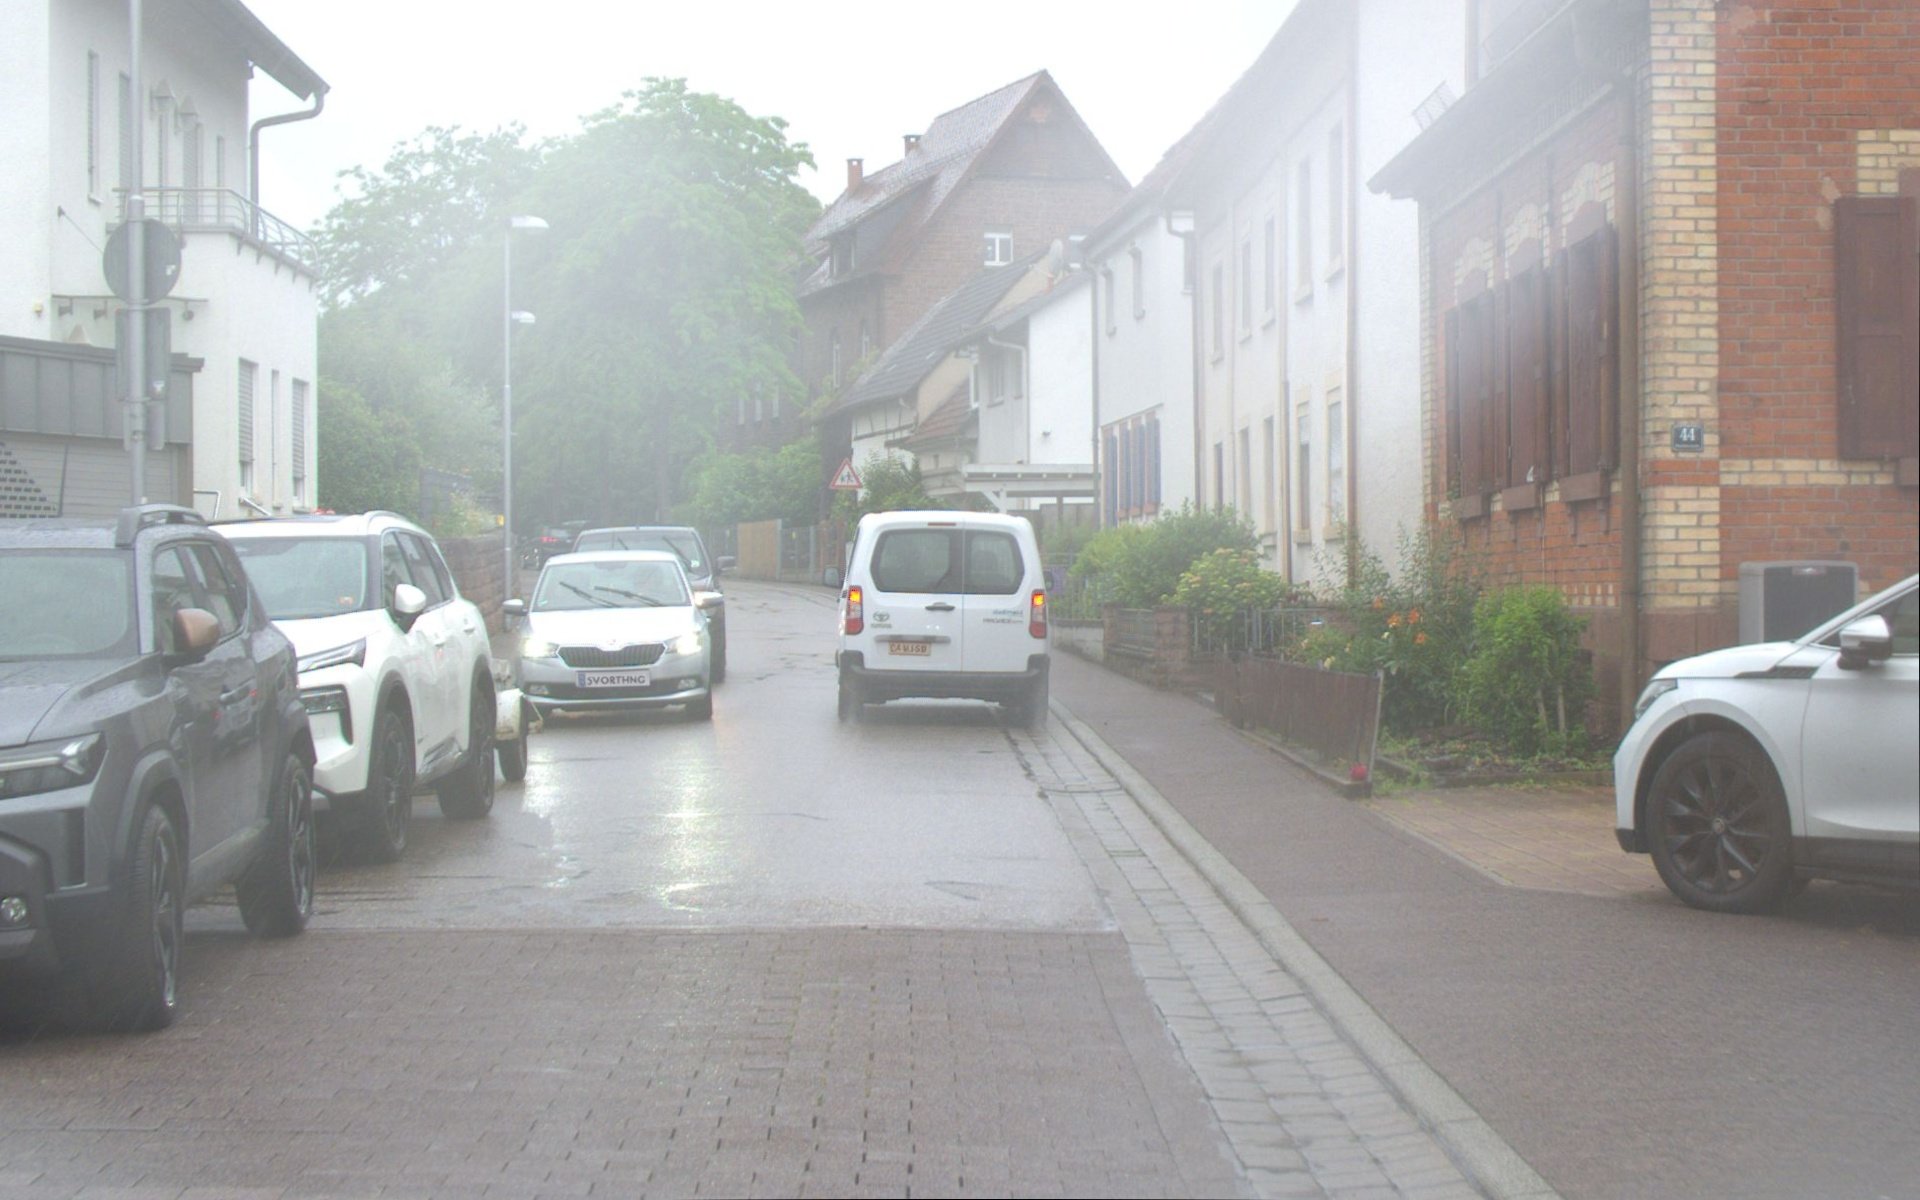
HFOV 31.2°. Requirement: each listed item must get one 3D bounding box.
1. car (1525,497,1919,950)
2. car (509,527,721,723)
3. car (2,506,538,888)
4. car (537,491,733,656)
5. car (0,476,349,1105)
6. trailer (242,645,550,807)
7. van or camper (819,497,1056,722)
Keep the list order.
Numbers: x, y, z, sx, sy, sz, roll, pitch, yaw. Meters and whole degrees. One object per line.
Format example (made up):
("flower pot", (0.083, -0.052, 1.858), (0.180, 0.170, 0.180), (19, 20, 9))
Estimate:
("car", (4.392, 0.475, 12.765), (1.871, 1.584, 4.620), (-1, 3, -33))
("car", (-3.031, 0.195, 30.207), (1.688, 1.559, 3.935), (-2, 0, -6))
("car", (-3.395, 0.415, 17.759), (1.748, 1.631, 4.418), (-3, 1, 1))
("car", (-3.587, -0.356, 38.463), (1.993, 1.671, 4.784), (-2, 2, -4))
("car", (-3.298, 0.488, 11.717), (1.812, 1.773, 4.018), (-2, 2, -2))
("trailer", (-3.452, 0.753, 21.403), (1.483, 0.826, 2.676), (-3, 0, -1))
("van or camper", (-0.213, 0.026, 30.345), (1.943, 1.844, 4.000), (0, 1, -1))
